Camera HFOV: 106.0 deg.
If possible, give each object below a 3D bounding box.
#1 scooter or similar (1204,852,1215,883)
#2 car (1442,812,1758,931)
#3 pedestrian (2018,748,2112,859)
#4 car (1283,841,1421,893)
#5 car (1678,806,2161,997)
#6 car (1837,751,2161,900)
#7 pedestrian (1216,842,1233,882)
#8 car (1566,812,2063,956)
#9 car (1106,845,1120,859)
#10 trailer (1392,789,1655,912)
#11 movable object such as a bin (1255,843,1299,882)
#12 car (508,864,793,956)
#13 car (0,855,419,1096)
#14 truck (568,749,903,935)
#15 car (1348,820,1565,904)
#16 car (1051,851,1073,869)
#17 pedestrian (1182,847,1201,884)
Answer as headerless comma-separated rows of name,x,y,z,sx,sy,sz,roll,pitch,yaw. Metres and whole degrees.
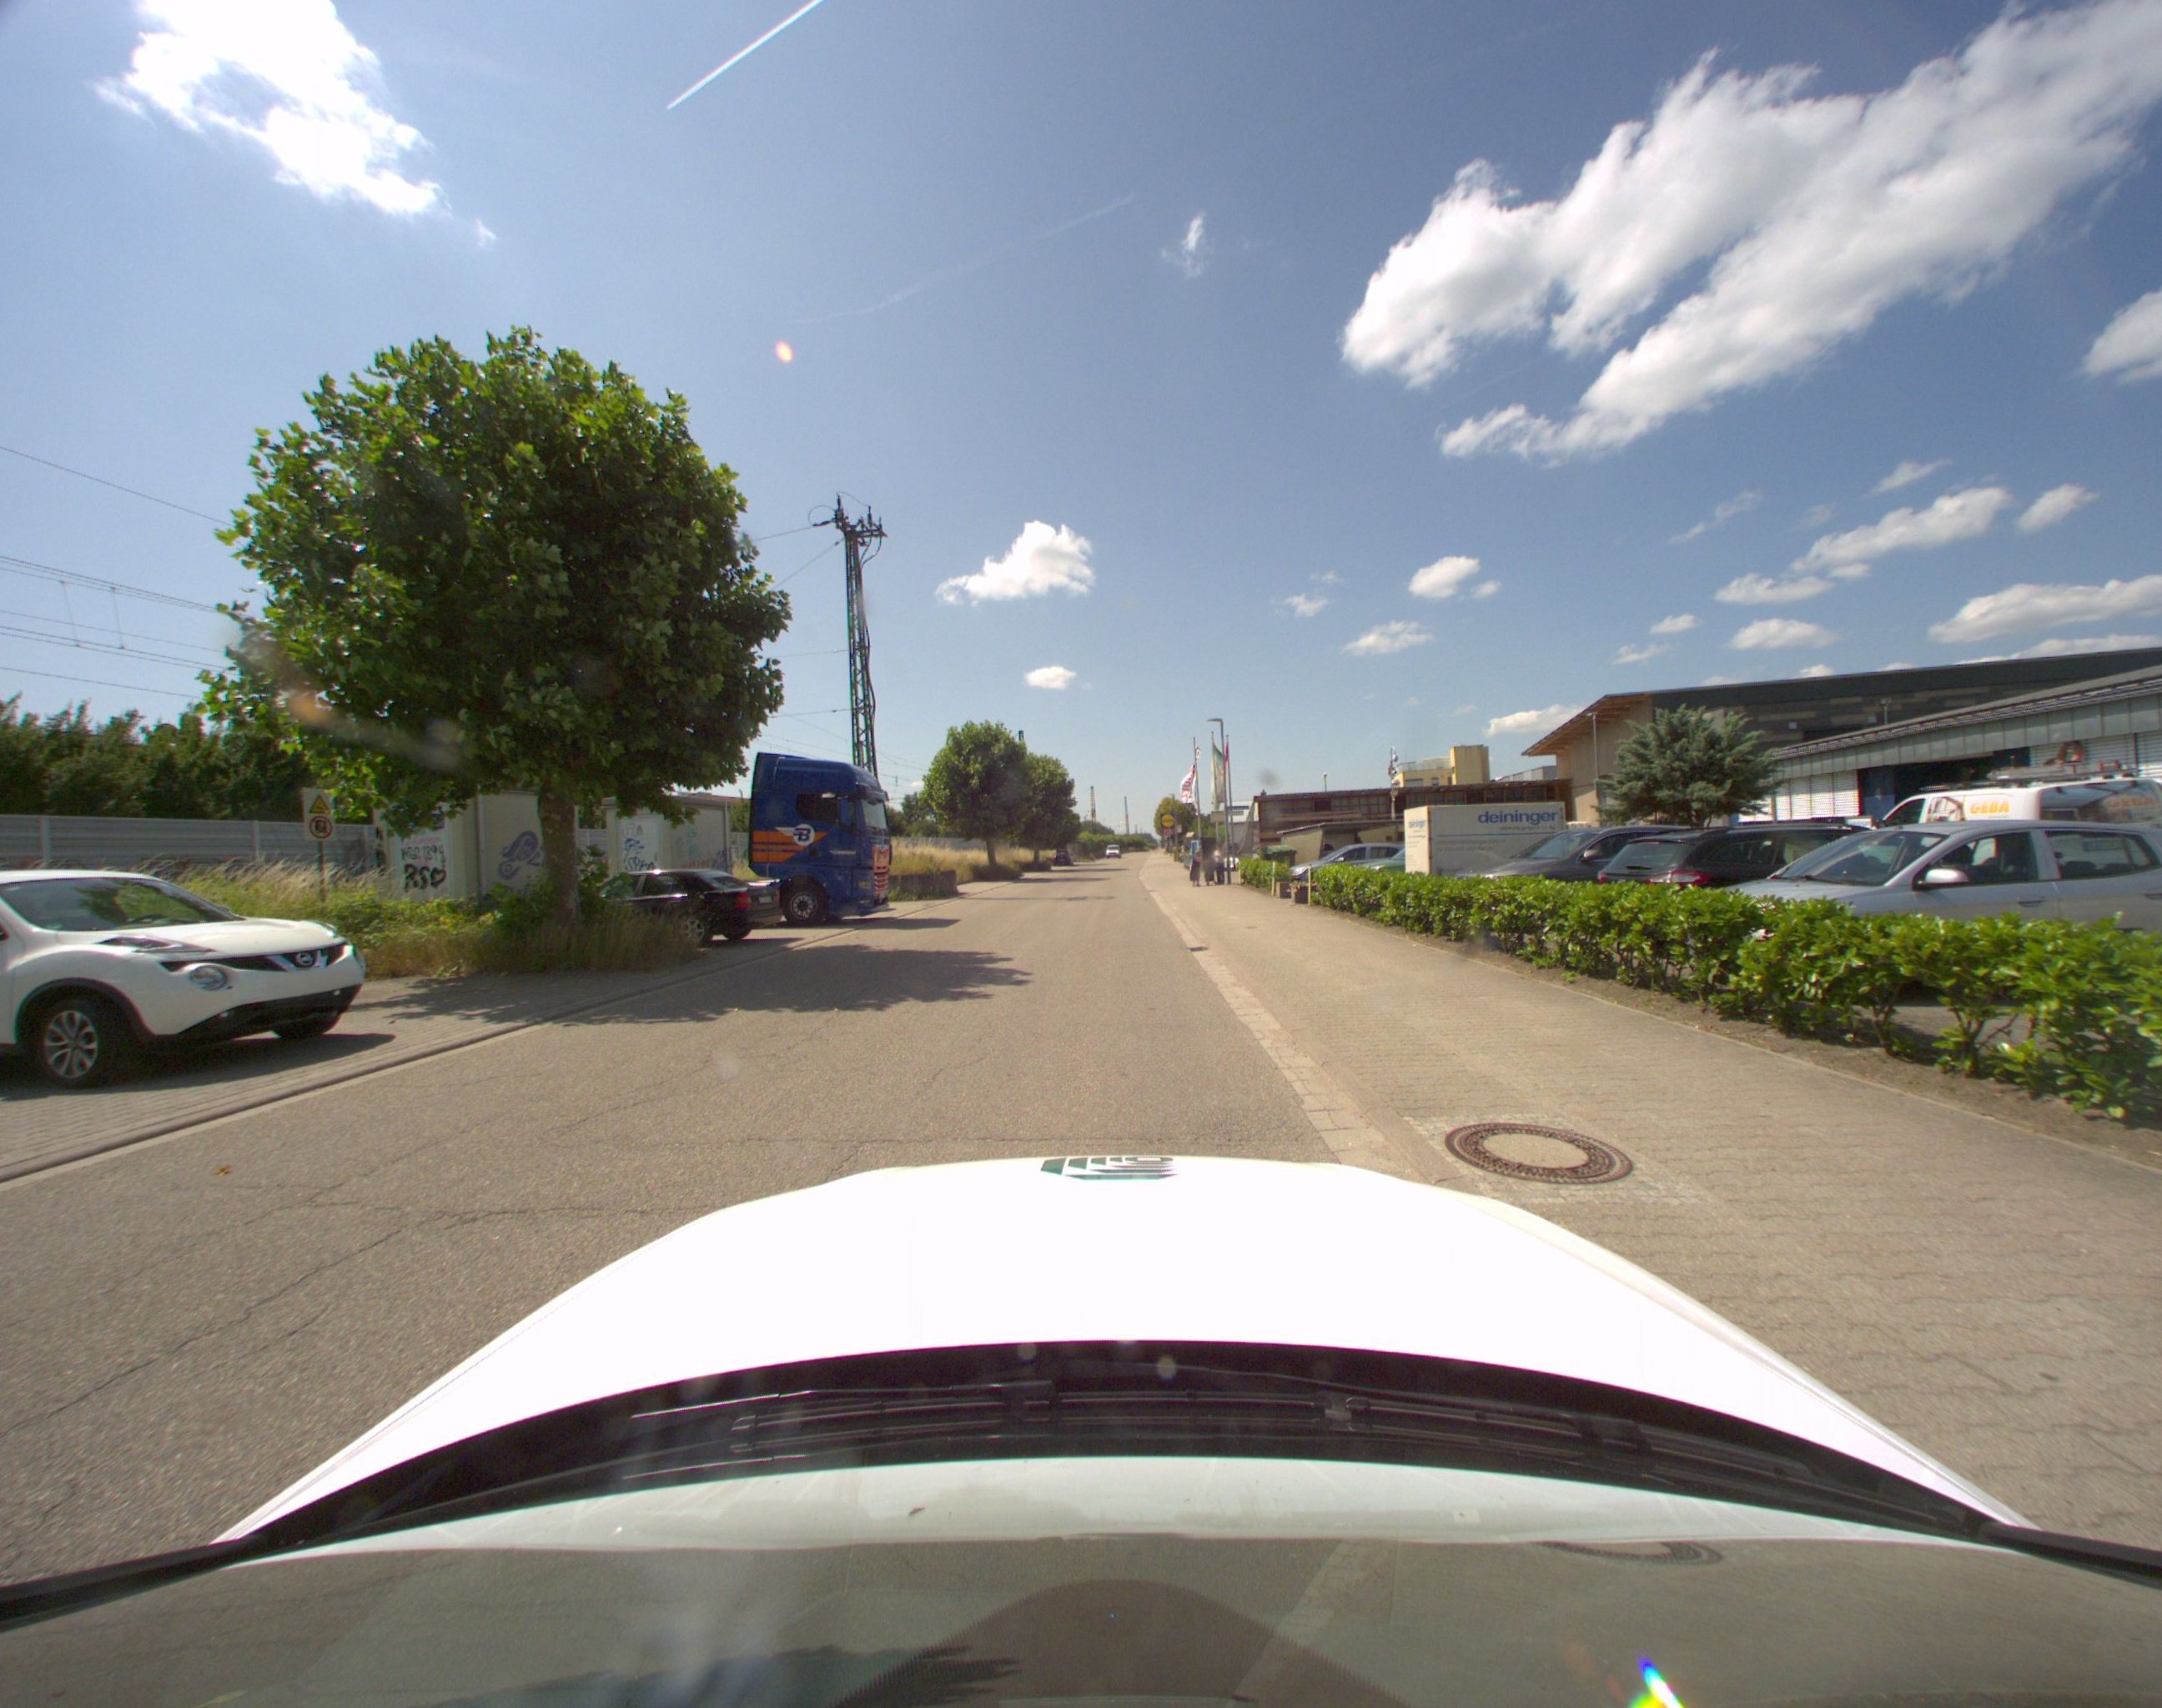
scooter or similar,5.028,0.521,31.830,0.332,1.198,0.398,-3,-2,4
car,8.307,0.290,13.266,4.024,1.574,1.712,-3,-2,-3
pedestrian,18.146,-0.915,15.039,0.713,1.943,0.690,-3,-2,1
car,8.542,0.399,25.921,3.828,1.455,1.819,-2,0,3
car,7.784,0.370,7.398,3.335,1.401,1.773,-3,0,7
car,16.385,-0.467,14.591,2.085,2.125,4.736,-5,0,15
pedestrian,5.593,0.320,31.752,0.533,1.540,0.511,-3,-2,2
car,8.701,0.325,9.951,4.460,1.440,1.814,-2,0,-1
car,4.535,-0.325,115.988,1.830,1.858,4.489,-2,0,4
trailer,8.511,-0.035,15.985,3.970,2.014,2.002,-4,-2,3
movable object such as a bin,7.568,0.322,31.416,1.272,1.458,1.038,-1,0,-34
car,-7.773,0.981,15.008,4.194,1.395,1.872,-2,0,1
car,-8.190,0.912,6.641,3.958,1.618,1.850,-3,0,-1
truck,-7.875,-0.271,19.180,6.590,3.823,2.665,-2,0,1
car,8.711,0.198,19.162,4.197,1.634,1.801,-3,-2,1
car,-1.790,0.518,77.928,1.734,1.596,3.582,-2,1,3
pedestrian,4.339,0.446,31.923,0.591,1.405,0.584,-3,-2,2
